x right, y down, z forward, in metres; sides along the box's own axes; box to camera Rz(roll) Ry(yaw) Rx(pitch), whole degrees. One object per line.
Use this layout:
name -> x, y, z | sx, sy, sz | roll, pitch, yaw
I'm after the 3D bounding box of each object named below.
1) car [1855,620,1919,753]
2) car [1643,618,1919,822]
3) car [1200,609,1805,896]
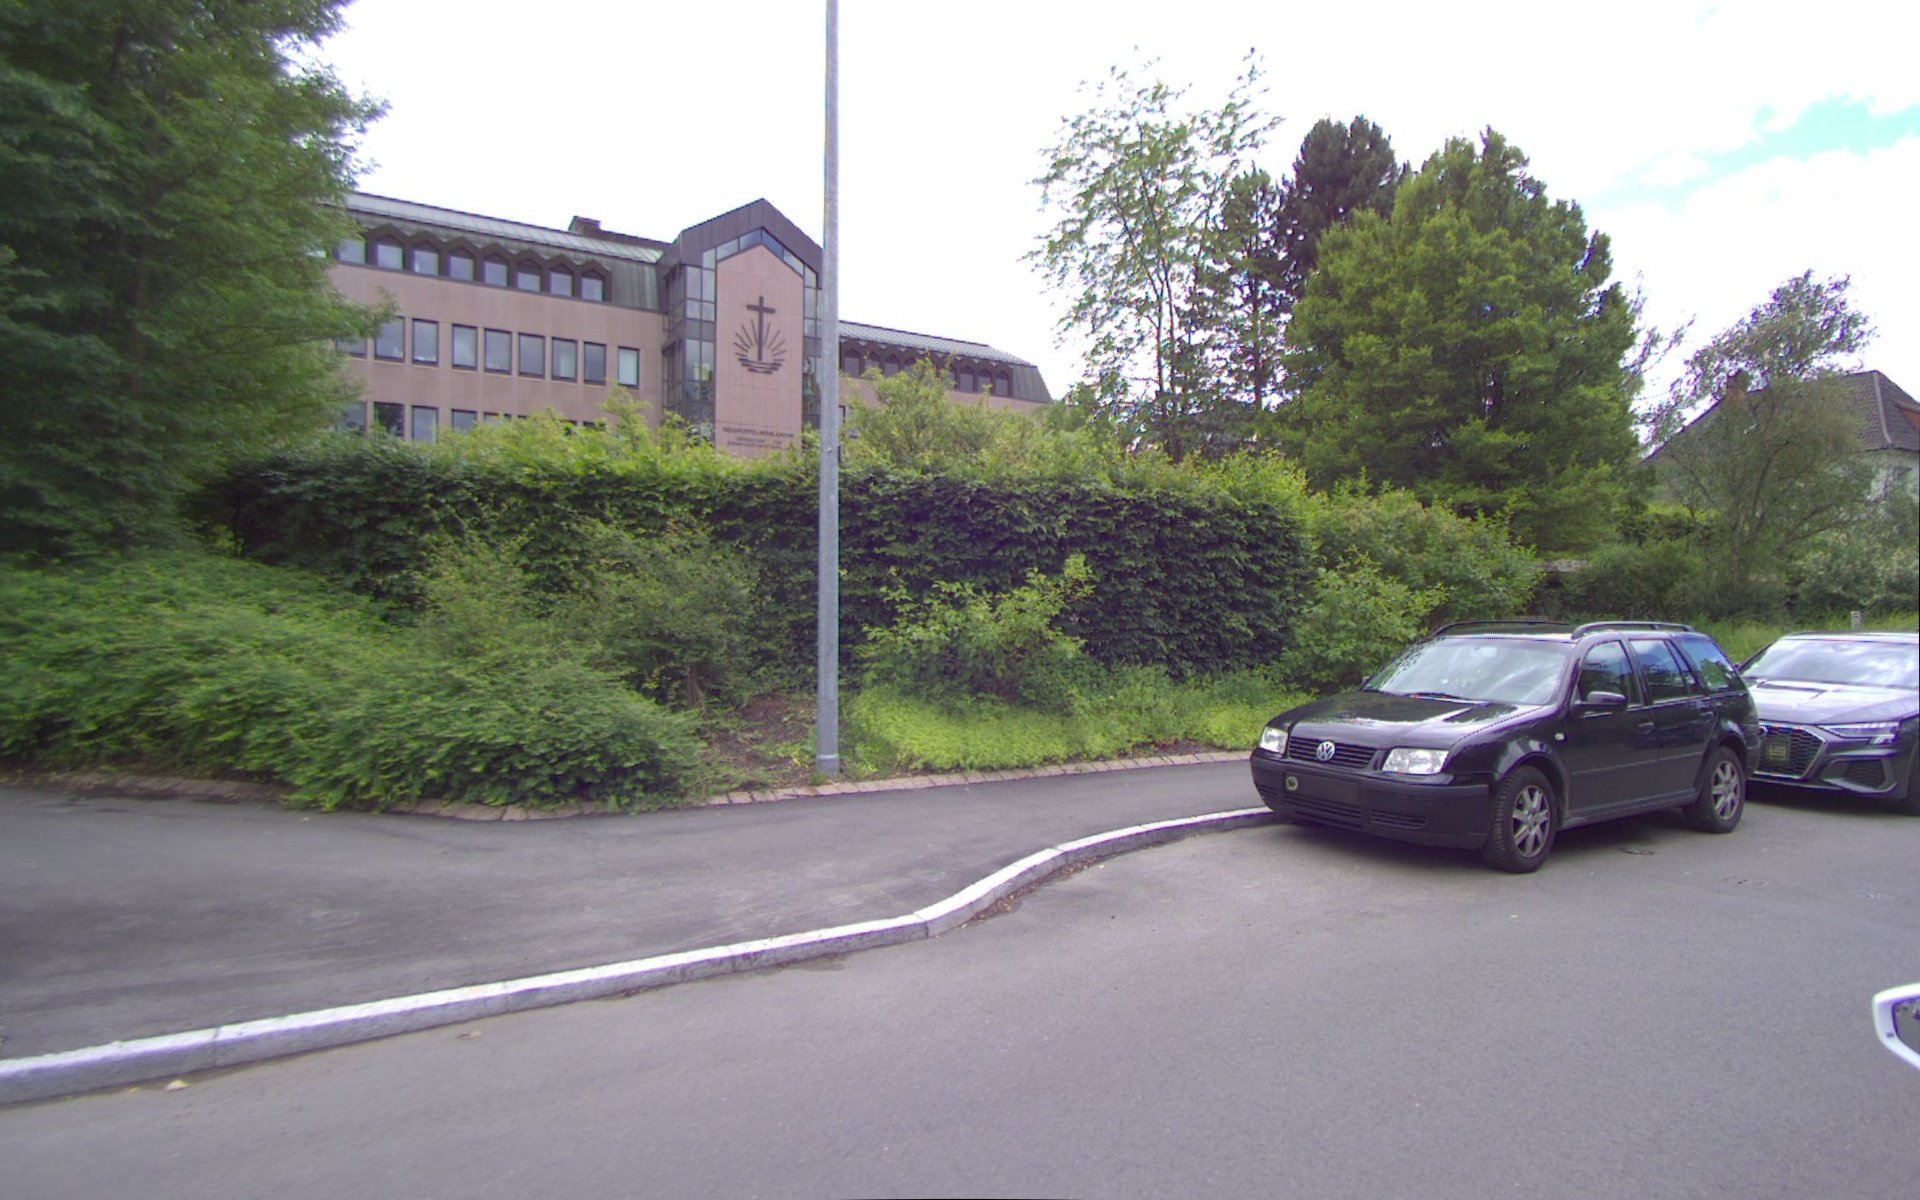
car -> 12.751, 1.034, 12.248 | 3.953, 1.502, 1.616 | 1, -1, -30
car -> 8.457, 0.955, 9.355 | 4.442, 1.502, 1.699 | 1, -1, -30
car -> 4.031, 0.859, 7.210 | 4.638, 1.502, 1.674 | 1, -1, -31
